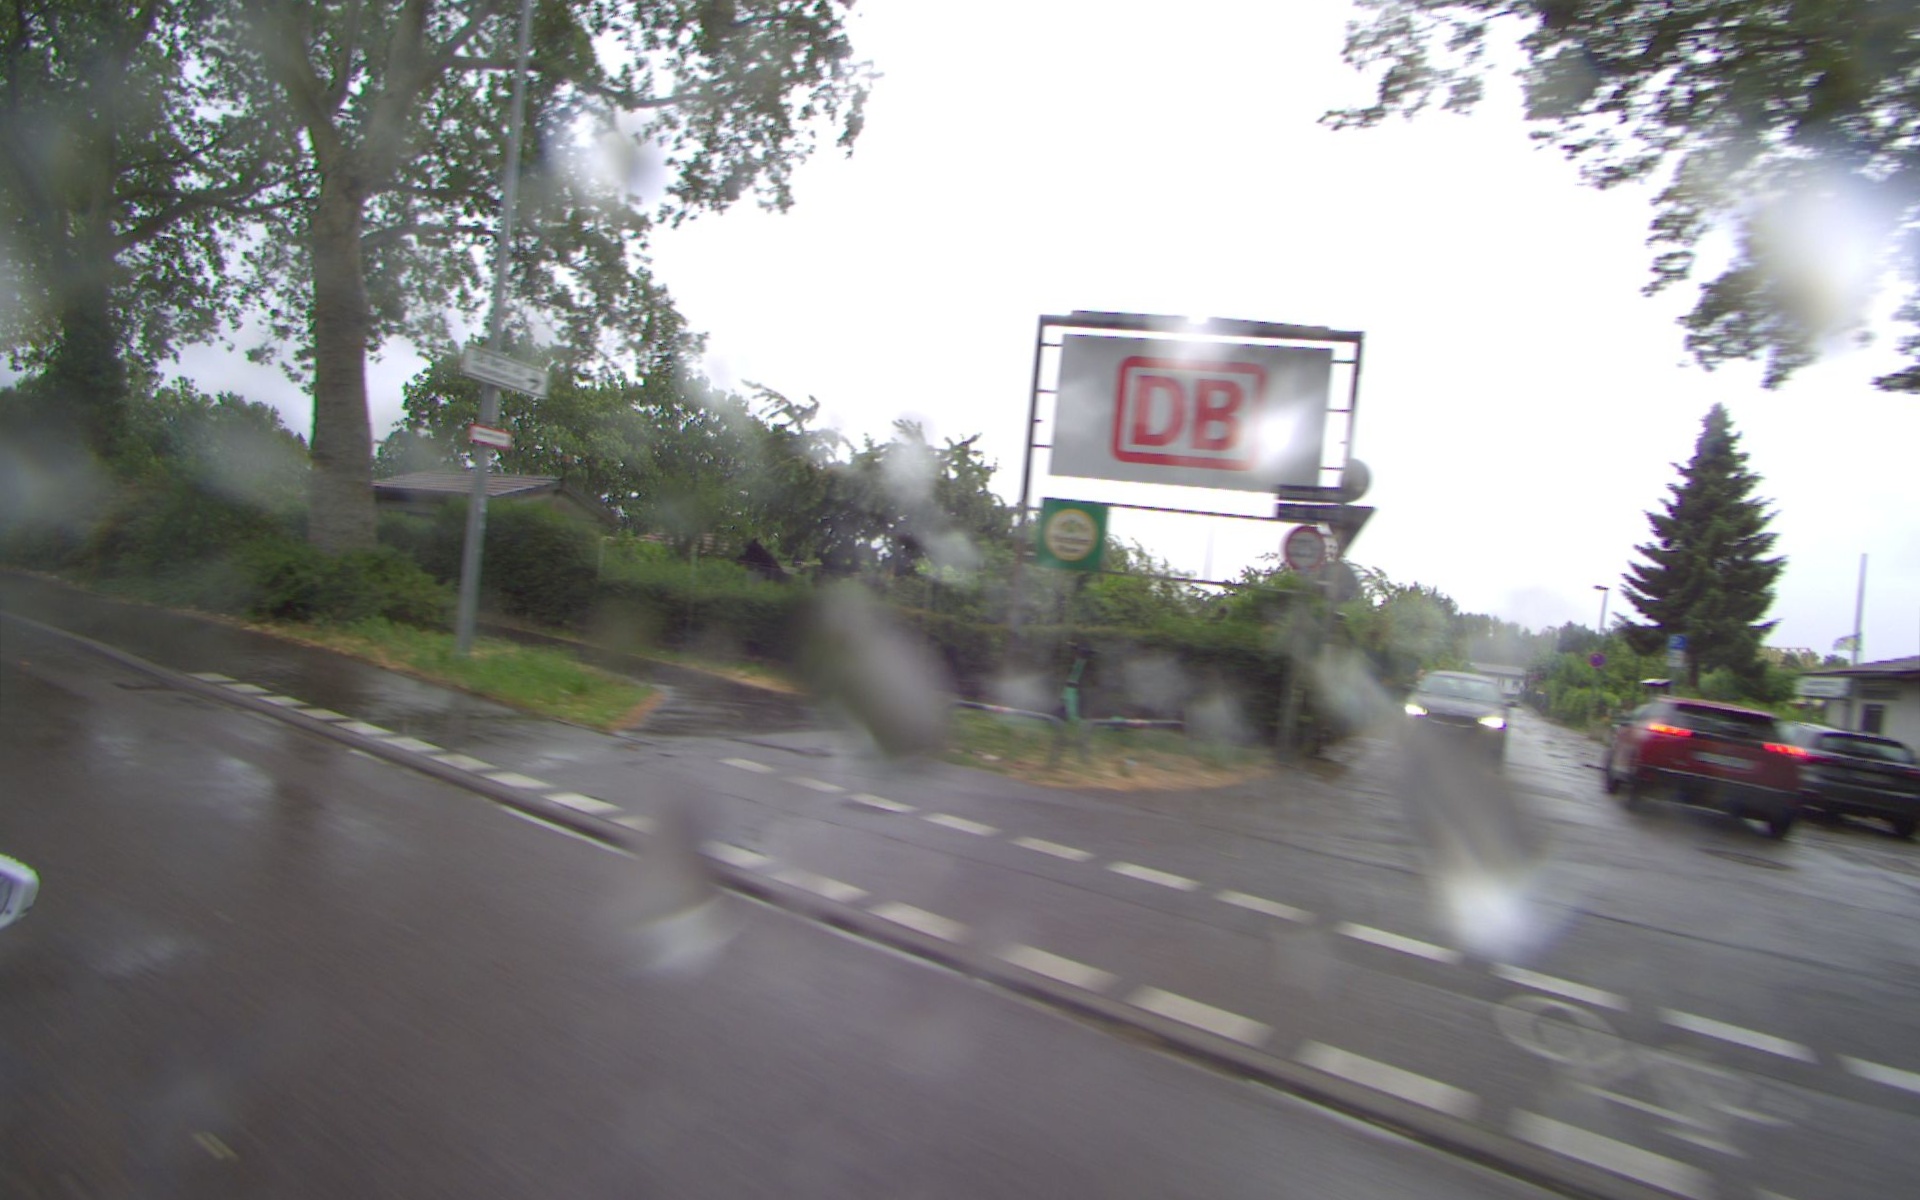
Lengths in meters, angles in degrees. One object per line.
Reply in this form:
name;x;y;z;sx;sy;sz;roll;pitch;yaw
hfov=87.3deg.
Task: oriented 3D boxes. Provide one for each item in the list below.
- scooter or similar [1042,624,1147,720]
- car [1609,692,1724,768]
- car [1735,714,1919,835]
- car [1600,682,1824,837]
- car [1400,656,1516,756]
scooter or similar;1.786;0.948;13.452;1.259;1.130;0.458;5;-3;44
car;17.509;3.189;25.096;1.697;1.475;3.638;8;-2;28
car;14.238;2.762;16.454;1.697;1.475;3.638;8;-2;28
car;9.925;2.039;13.577;1.769;1.514;3.637;7;-2;29
car;9.627;2.021;19.317;1.630;1.514;3.388;7;-2;30
